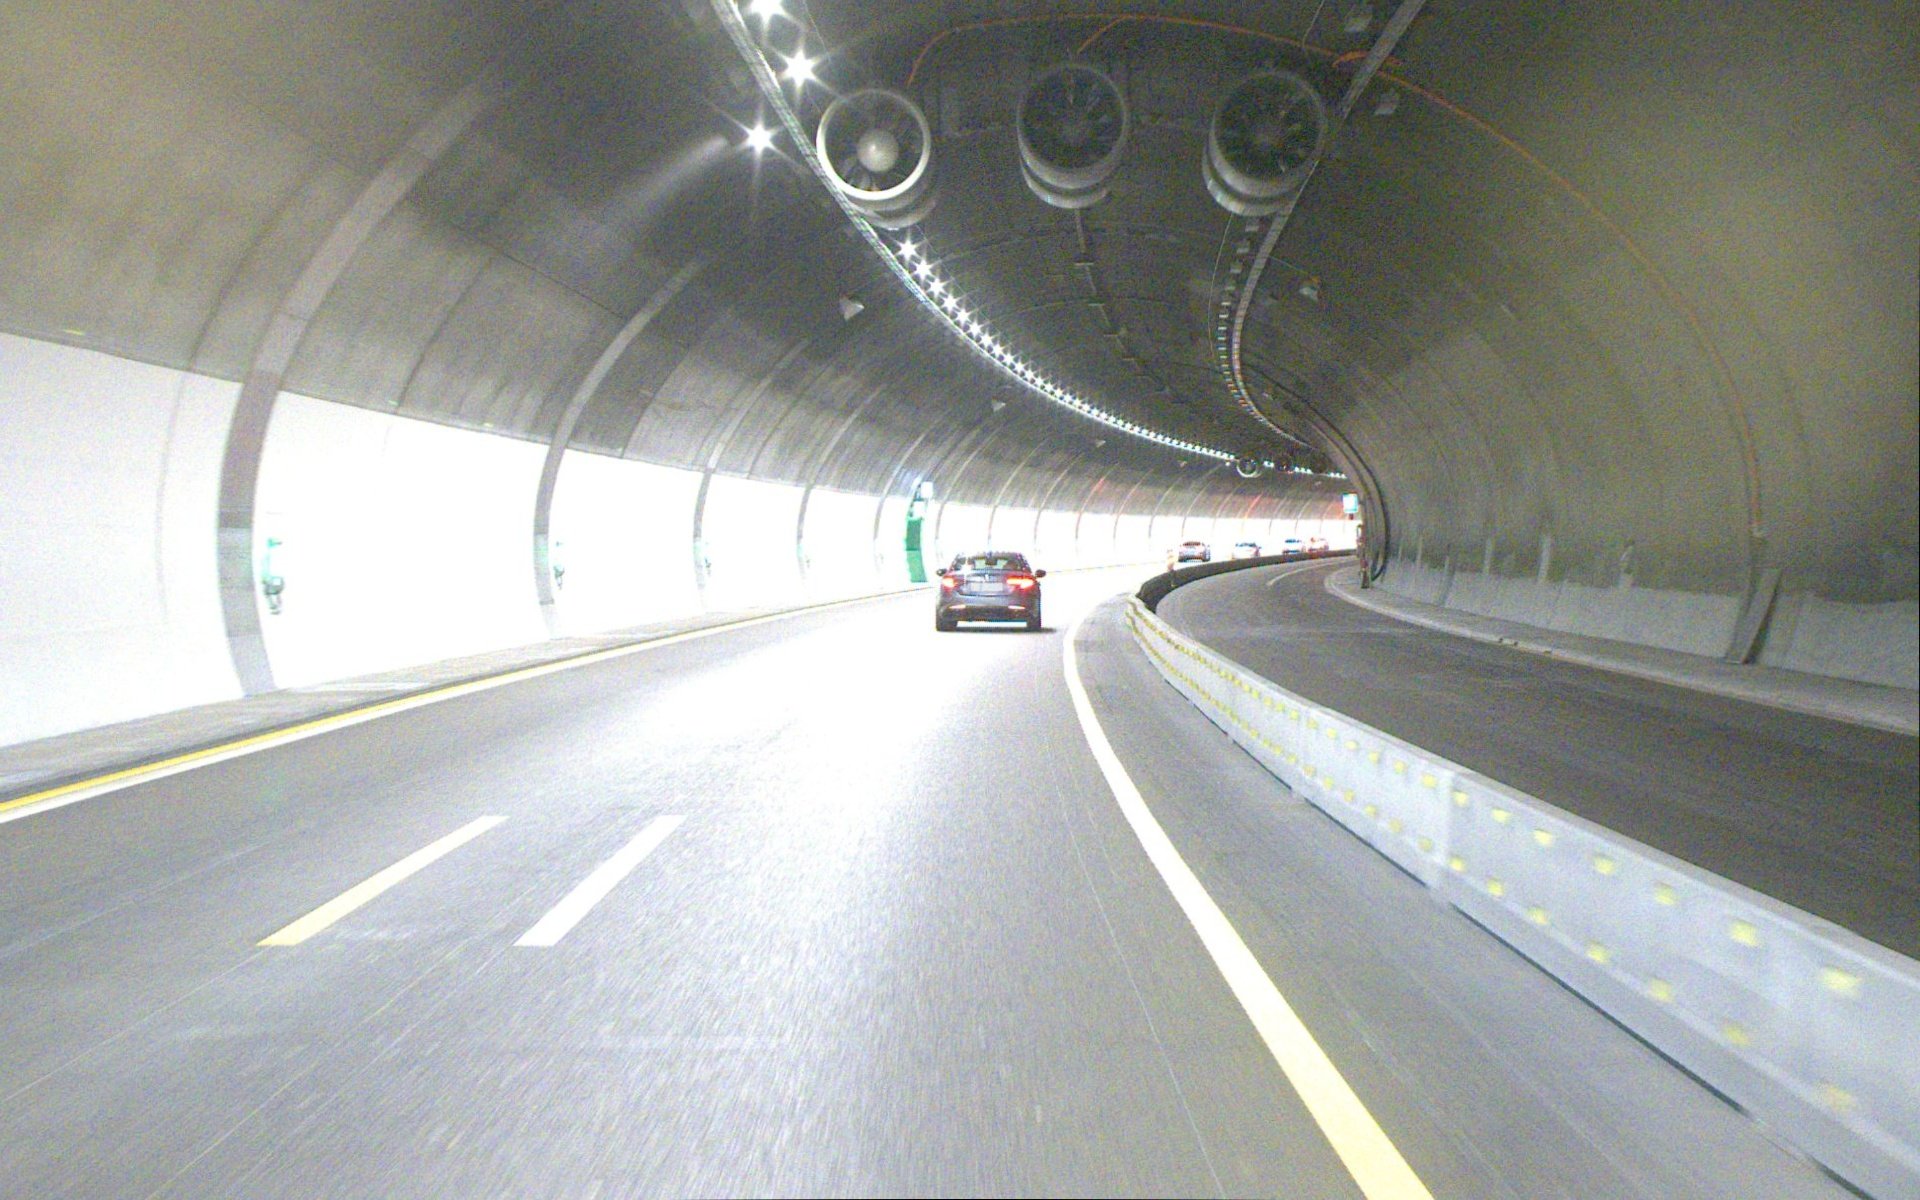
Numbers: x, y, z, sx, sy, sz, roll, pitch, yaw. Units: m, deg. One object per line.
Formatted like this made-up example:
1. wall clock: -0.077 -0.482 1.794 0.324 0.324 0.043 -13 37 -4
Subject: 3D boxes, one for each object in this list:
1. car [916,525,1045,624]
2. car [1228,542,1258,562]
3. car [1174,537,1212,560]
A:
1. car: 0.401 -0.493 61.990 2.141 1.700 4.000 1 1 3
2. car: 18.843 -3.185 229.062 1.596 1.328 3.749 1 1 11
3. car: 15.727 -3.486 232.056 2.166 1.481 3.998 1 1 10
